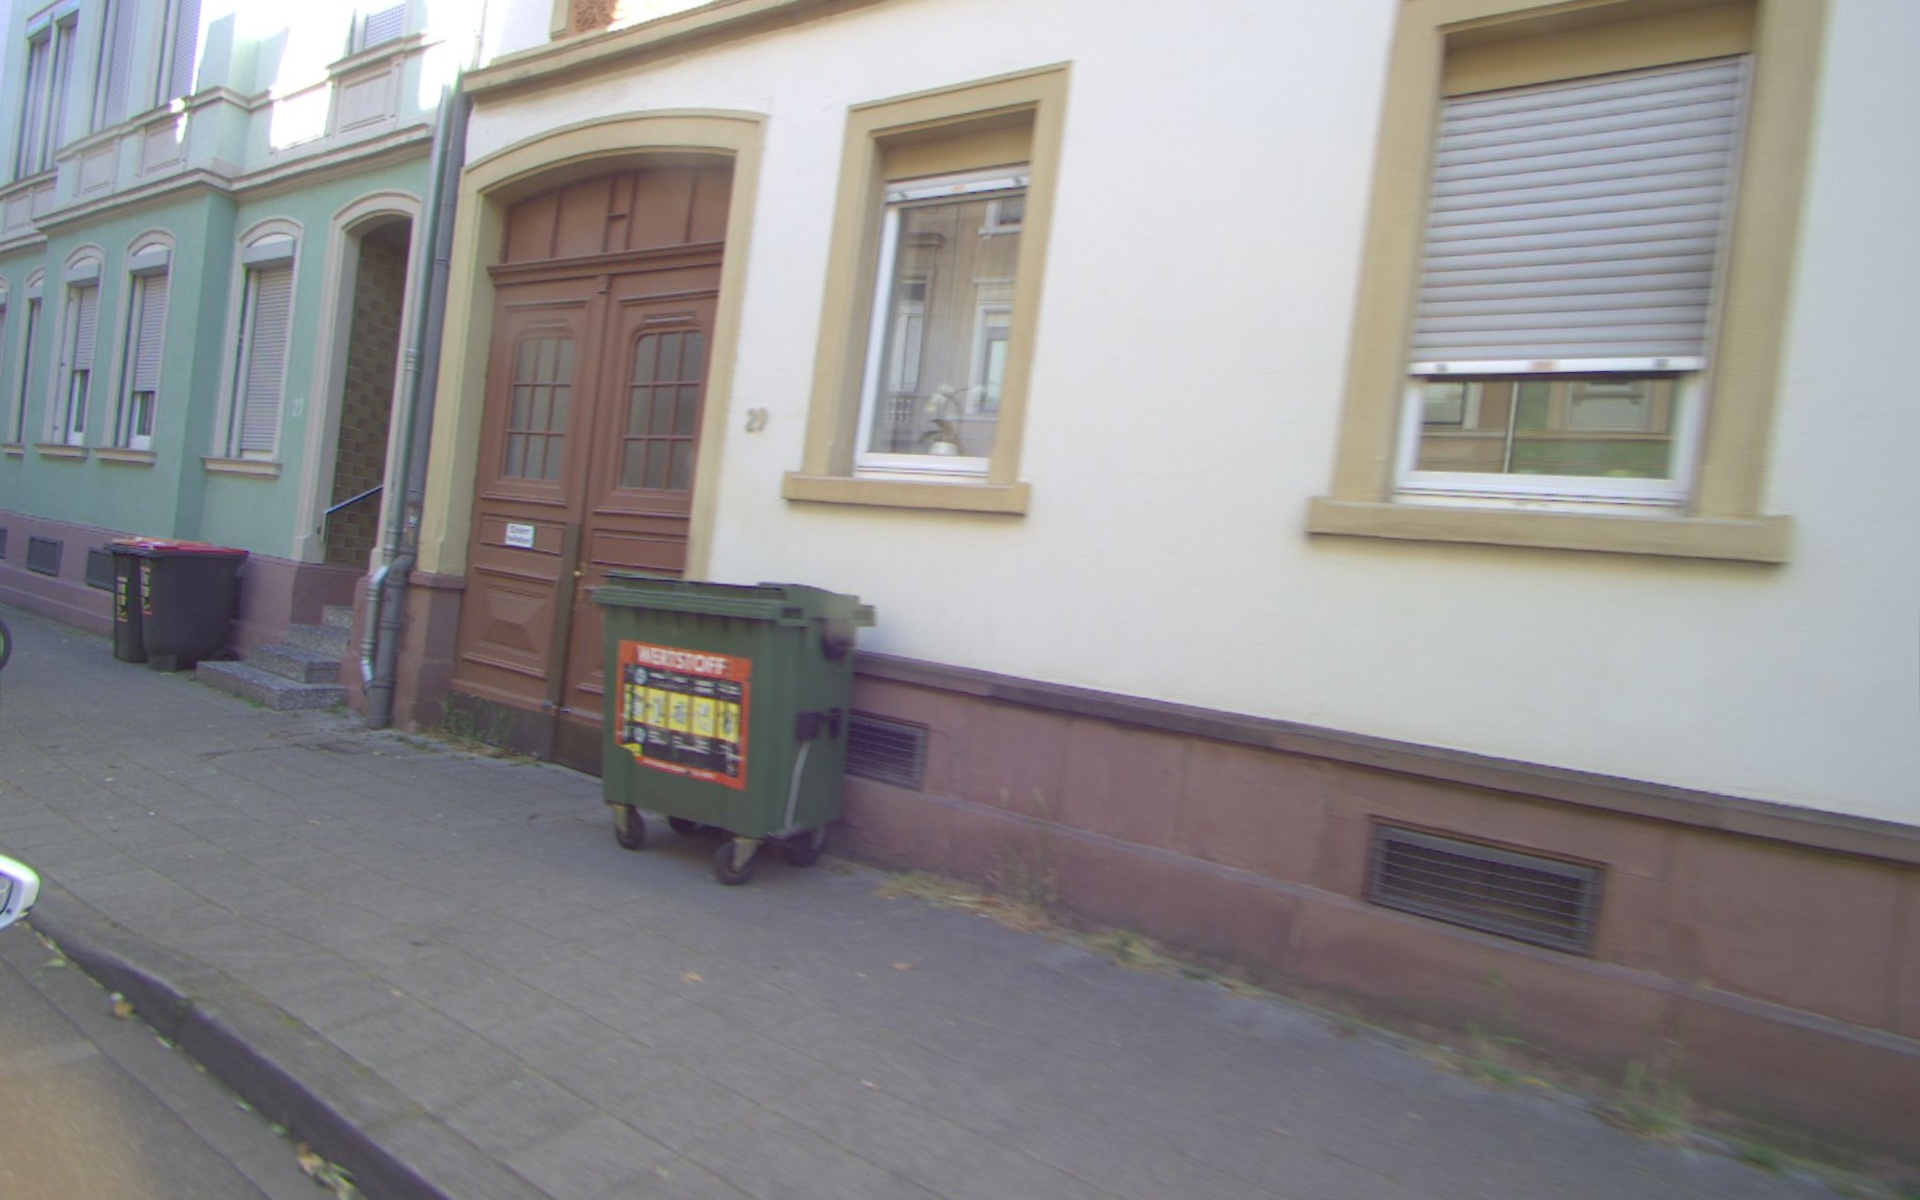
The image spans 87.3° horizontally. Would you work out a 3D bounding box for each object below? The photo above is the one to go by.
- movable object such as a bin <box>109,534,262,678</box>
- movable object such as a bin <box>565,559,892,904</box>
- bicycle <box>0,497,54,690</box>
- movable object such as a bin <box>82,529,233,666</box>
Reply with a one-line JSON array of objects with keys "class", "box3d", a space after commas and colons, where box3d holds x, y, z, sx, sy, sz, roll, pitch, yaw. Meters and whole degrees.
[{"class": "movable object such as a bin", "box3d": [-6.539, 0.063, 8.504, 0.632, 1.109, 0.797, 6, 0, 34]}, {"class": "movable object such as a bin", "box3d": [-1.138, 0.559, 4.941, 1.276, 1.408, 0.837, 5, 2, 31]}, {"class": "bicycle", "box3d": [-7.375, -0.136, 7.421, 2.165, 1.288, 0.574, 7, 2, 37]}, {"class": "movable object such as a bin", "box3d": [-7.077, -0.013, 8.881, 0.663, 1.102, 0.813, 6, 0, 34]}]
